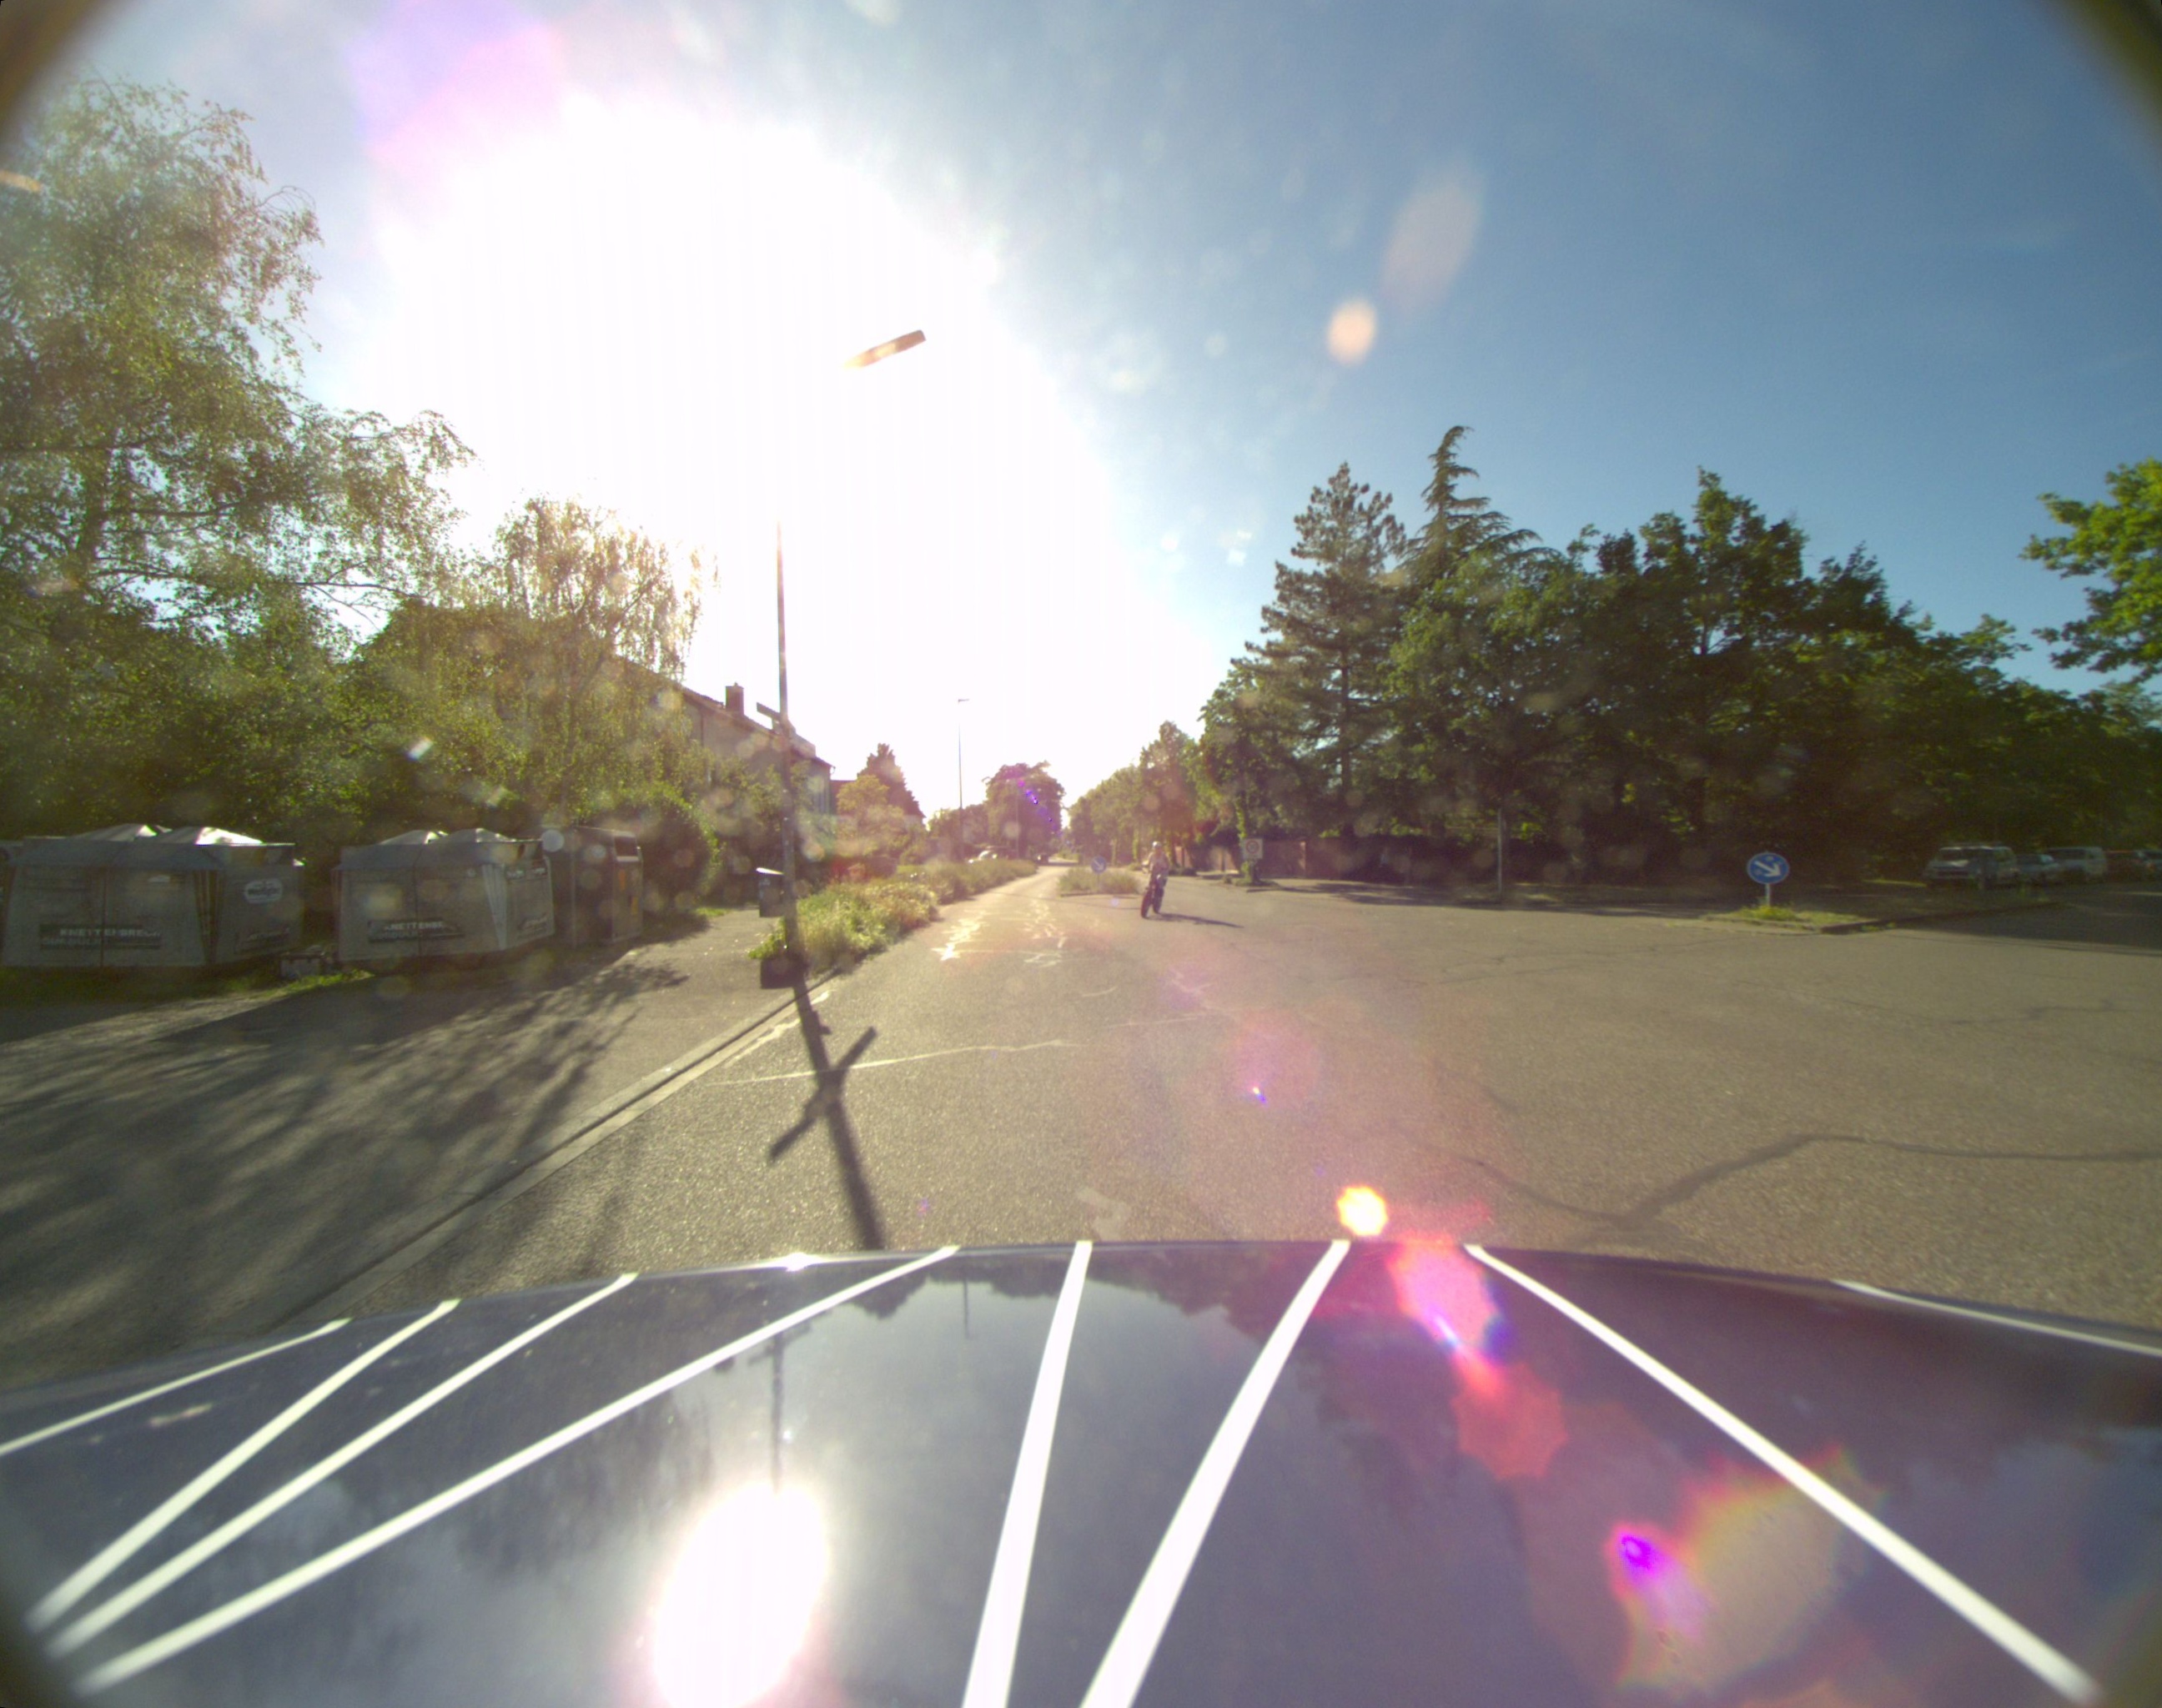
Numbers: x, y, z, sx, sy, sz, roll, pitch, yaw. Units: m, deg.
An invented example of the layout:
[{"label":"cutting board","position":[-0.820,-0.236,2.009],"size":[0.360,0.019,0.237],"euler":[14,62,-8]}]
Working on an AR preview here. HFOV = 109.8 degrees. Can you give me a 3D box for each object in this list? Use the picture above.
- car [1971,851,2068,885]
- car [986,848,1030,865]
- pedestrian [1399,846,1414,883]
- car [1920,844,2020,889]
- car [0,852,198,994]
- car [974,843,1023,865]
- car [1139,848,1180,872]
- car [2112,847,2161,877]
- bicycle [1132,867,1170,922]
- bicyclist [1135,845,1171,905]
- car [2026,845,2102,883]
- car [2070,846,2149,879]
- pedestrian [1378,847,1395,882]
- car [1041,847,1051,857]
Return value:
[{"label":"car","position":[42.135,0.609,34.093],"size":[4.620,1.435,1.720],"euler":[0,-1,-26]},{"label":"car","position":[-6.314,0.199,65.754],"size":[3.399,1.433,1.612],"euler":[-1,1,-25]},{"label":"pedestrian","position":[13.833,0.423,32.293],"size":[0.396,1.552,0.538],"euler":[0,2,0]},{"label":"car","position":[36.665,0.471,31.315],"size":[4.641,1.739,1.751],"euler":[-1,0,-29]},{"label":"car","position":[-11.660,0.699,7.584],"size":[1.635,1.430,4.061],"euler":[-1,-1,-13]},{"label":"car","position":[-6.793,-0.019,62.671],"size":[3.657,1.707,1.744],"euler":[-1,1,-39]},{"label":"car","position":[5.712,0.401,55.777],"size":[2.000,1.649,3.996],"euler":[-1,1,-8]},{"label":"car","position":[58.585,0.419,41.822],"size":[3.758,1.629,1.498],"euler":[0,0,-26]},{"label":"bicycle","position":[1.622,0.898,17.371],"size":[0.457,1.138,1.900],"euler":[0,1,18]},{"label":"bicyclist","position":[1.673,0.471,17.598],"size":[0.637,1.340,0.839],"euler":[0,1,18]},{"label":"car","position":[46.894,0.468,36.247],"size":[3.807,1.744,1.498],"euler":[0,0,-26]},{"label":"car","position":[53.320,0.416,39.387],"size":[3.758,1.629,1.770],"euler":[0,0,-26]},{"label":"pedestrian","position":[13.082,0.446,32.529],"size":[0.539,1.512,0.395],"euler":[-1,2,-27]},{"label":"car","position":[-7.074,-0.424,154.442],"size":[1.999,1.805,3.998],"euler":[-1,1,-3]}]
